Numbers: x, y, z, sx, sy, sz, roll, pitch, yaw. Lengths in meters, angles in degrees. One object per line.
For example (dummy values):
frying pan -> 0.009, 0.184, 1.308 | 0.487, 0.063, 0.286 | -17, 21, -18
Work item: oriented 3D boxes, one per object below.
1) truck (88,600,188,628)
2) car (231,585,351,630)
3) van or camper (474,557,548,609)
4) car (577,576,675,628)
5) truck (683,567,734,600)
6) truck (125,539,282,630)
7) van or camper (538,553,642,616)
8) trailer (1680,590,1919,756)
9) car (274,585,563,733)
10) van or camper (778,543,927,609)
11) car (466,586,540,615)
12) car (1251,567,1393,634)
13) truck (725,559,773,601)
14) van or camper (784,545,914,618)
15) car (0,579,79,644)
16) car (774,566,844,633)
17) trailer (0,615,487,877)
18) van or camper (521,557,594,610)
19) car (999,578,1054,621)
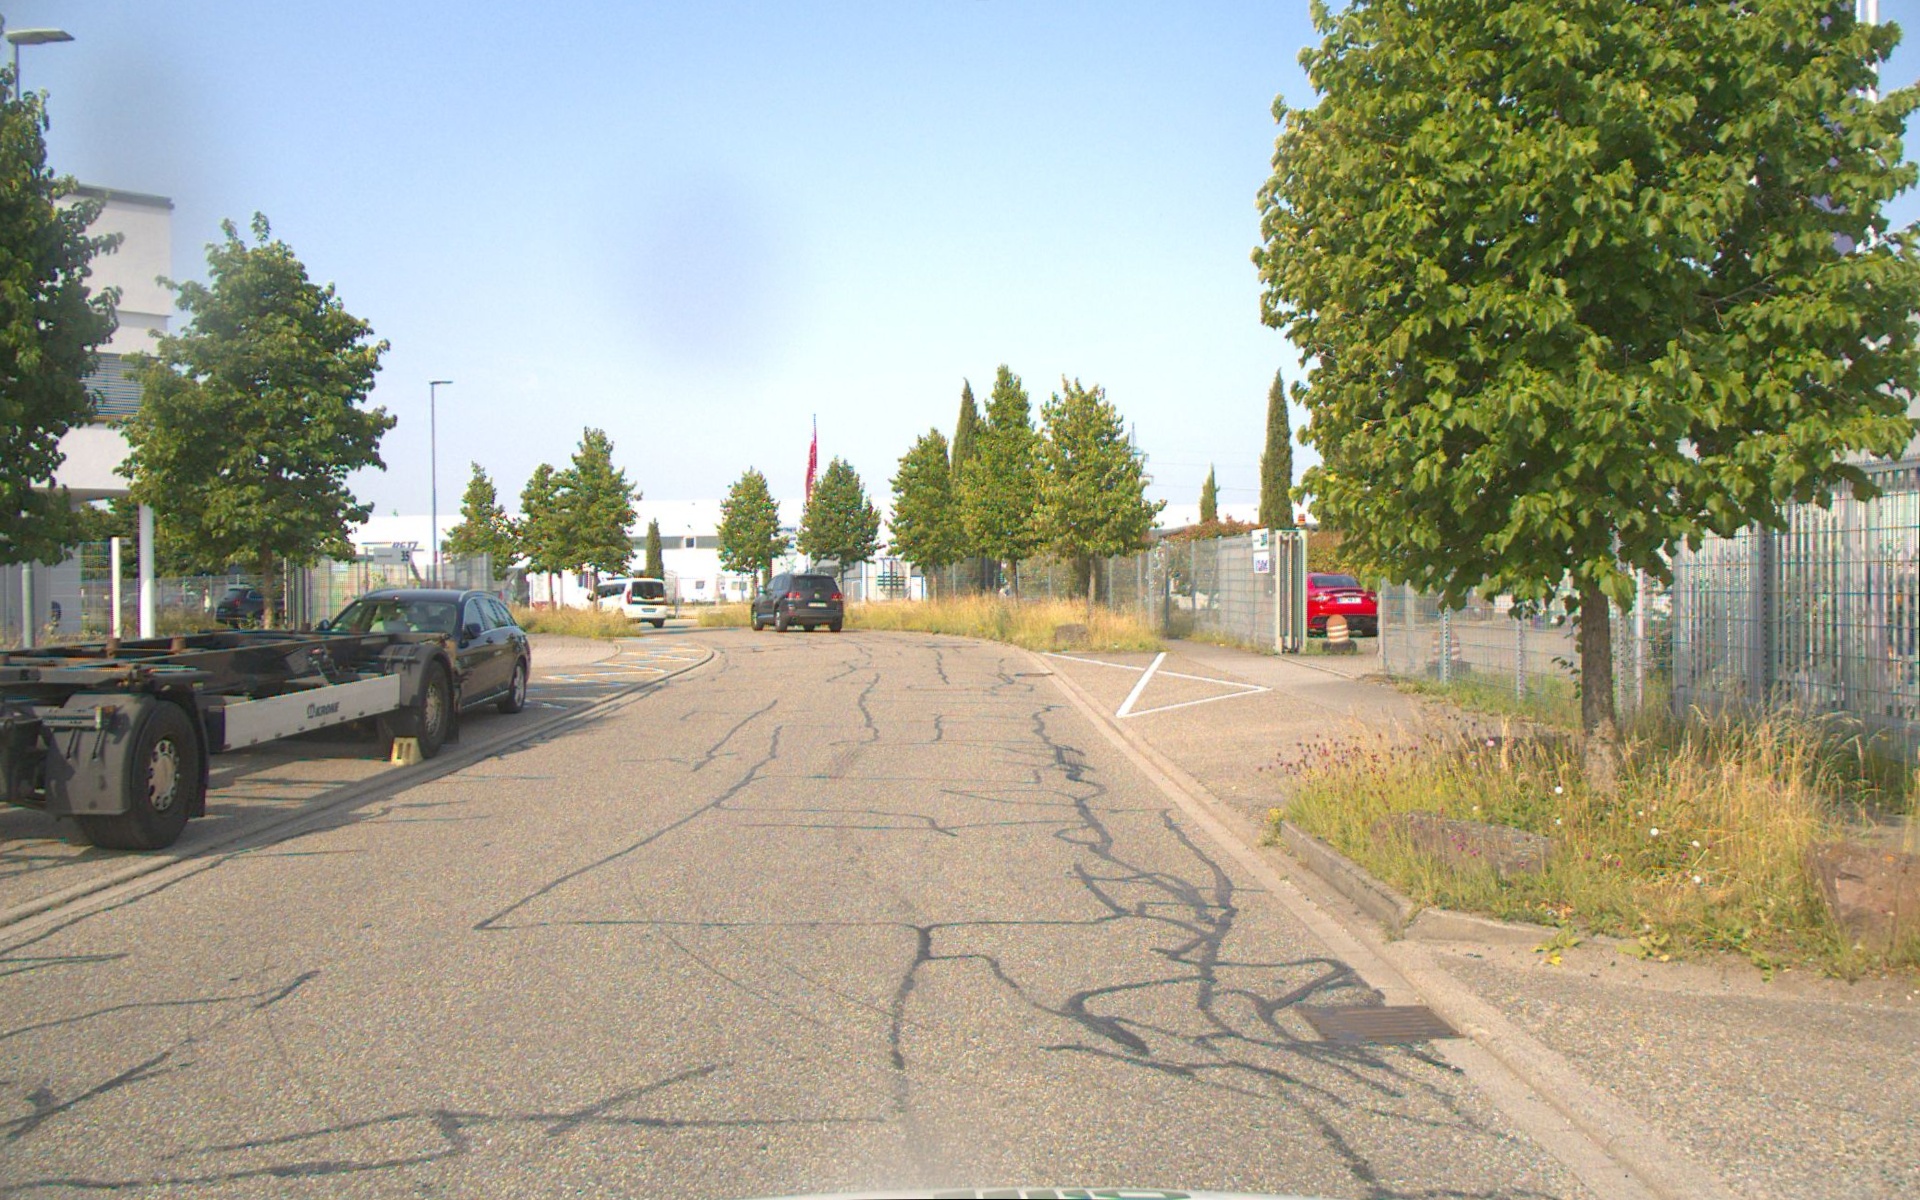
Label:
truck -> -41.749, 0.688, 83.941 | 6.414, 1.287, 2.516 | 0, 1, 43
car -> -22.770, 0.241, 56.382 | 1.568, 1.479, 3.484 | 0, 0, 41
van or camper -> -28.060, -1.101, 103.659 | 2.607, 3.138, 6.796 | 0, 1, 1
car -> -12.899, 0.067, 63.695 | 1.980, 1.932, 4.407 | -1, 1, -38
truck -> -18.016, -1.196, 118.960 | 2.400, 2.304, 8.002 | 0, 1, 0
truck -> -35.941, -0.673, 78.201 | 2.615, 3.998, 12.704 | 0, 0, -45
van or camper -> -18.466, -0.748, 82.182 | 2.315, 2.995, 6.875 | -1, 1, -38
trailer -> 8.630, 0.574, 14.883 | 2.083, 1.265, 4.794 | -1, 1, -2
car -> -6.200, 0.598, 19.536 | 1.953, 1.492, 4.432 | 1, 1, 0
van or camper -> -5.287, -1.182, 80.778 | 7.121, 3.085, 2.581 | -1, 0, -7
car -> -24.500, 0.019, 88.751 | 2.119, 1.502, 4.003 | -1, 1, 14
car -> 8.092, -0.012, 37.394 | 1.843, 1.381, 4.769 | -1, 1, -4
truck -> -15.093, -1.444, 118.962 | 2.400, 2.875, 8.002 | 0, 1, 0
van or camper -> -4.755, -0.750, 69.306 | 2.326, 2.897, 7.262 | -1, 0, -31
car -> -22.196, 0.259, 38.894 | 3.855, 1.440, 1.552 | 0, 1, 45
car -> -4.426, -0.039, 48.416 | 1.955, 1.836, 3.996 | 1, 1, -6
trailer -> -5.726, 0.858, 12.898 | 2.086, 1.254, 7.157 | 1, 1, -1
van or camper -> -24.949, -1.041, 102.833 | 2.742, 3.138, 7.968 | 0, 1, -1
car -> 2.694, -0.051, 68.140 | 1.689, 1.672, 3.995 | 1, 1, -6
